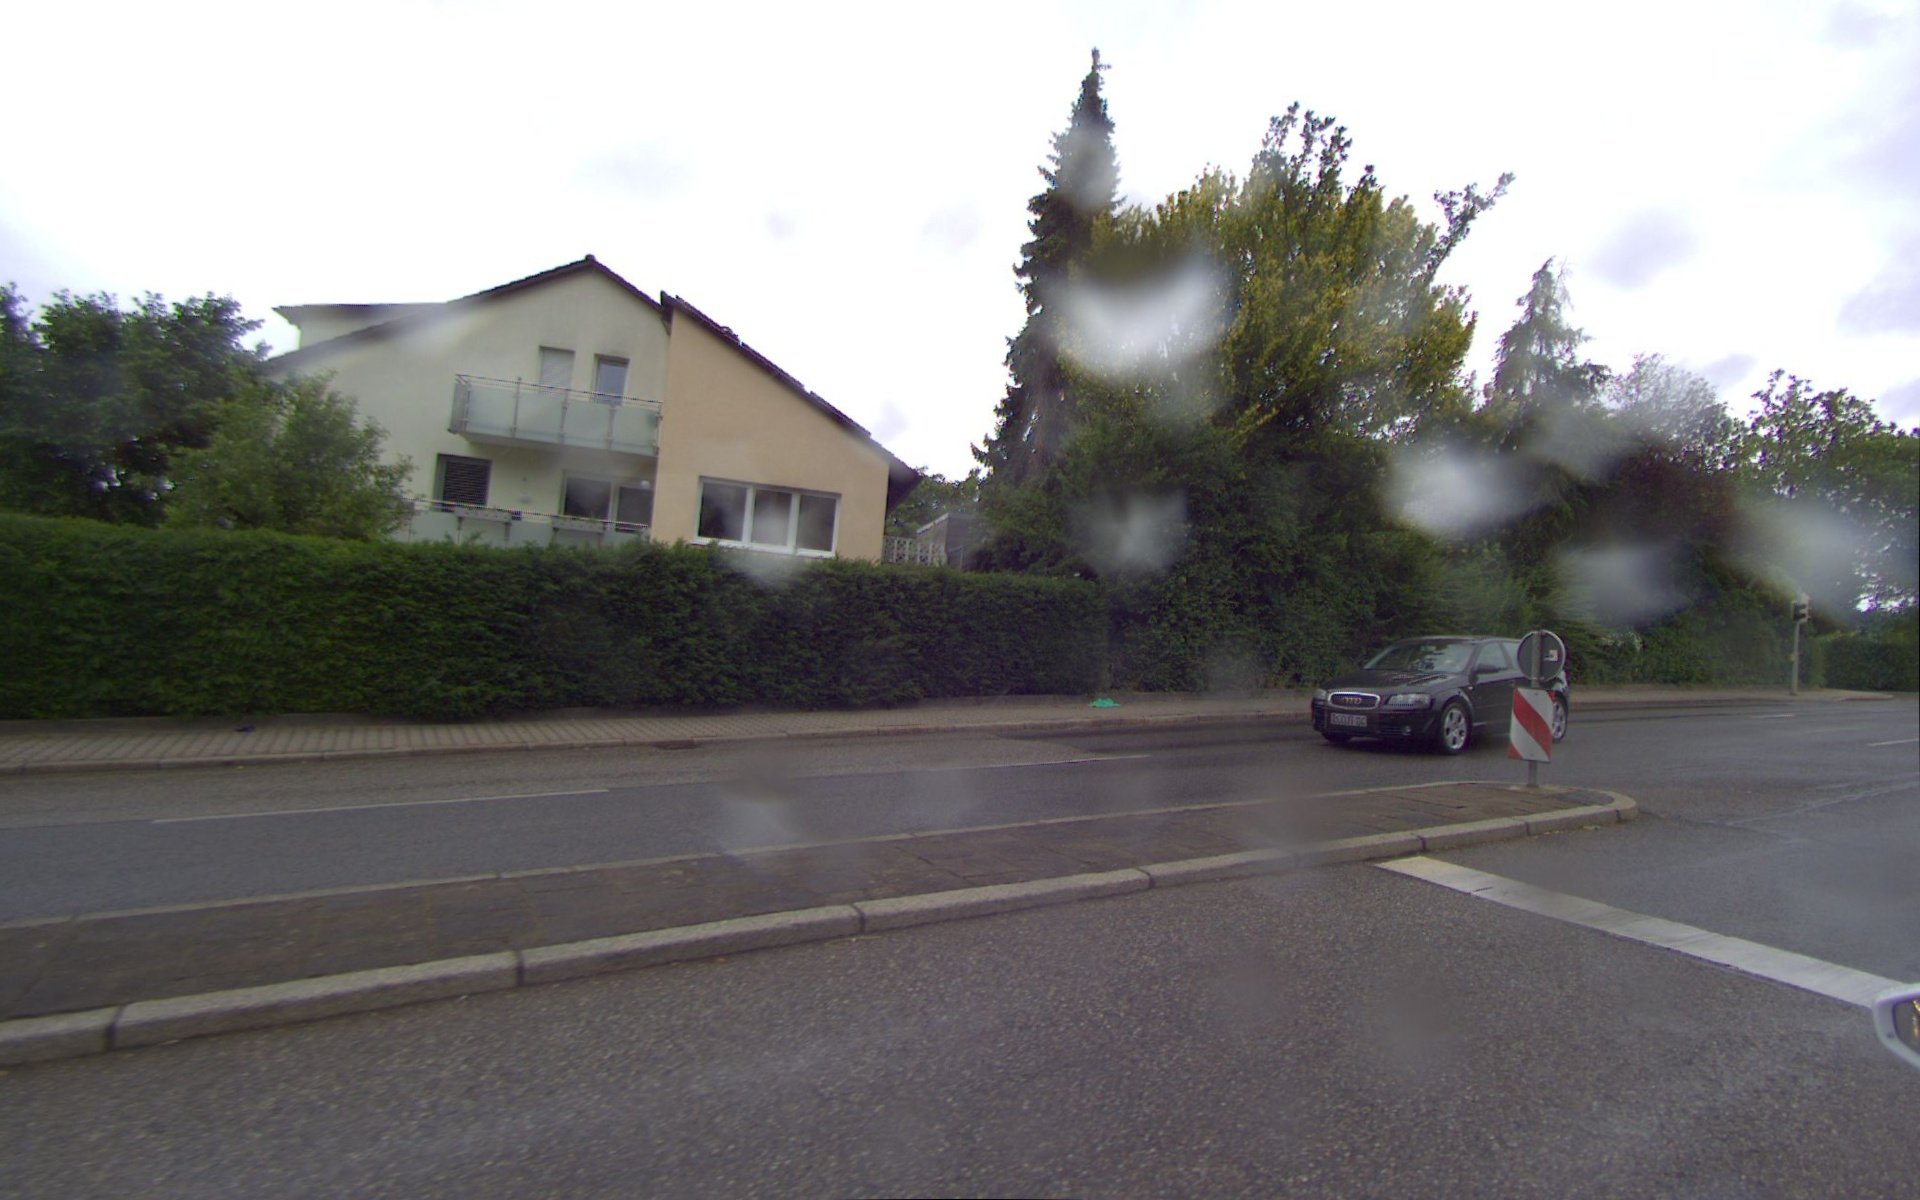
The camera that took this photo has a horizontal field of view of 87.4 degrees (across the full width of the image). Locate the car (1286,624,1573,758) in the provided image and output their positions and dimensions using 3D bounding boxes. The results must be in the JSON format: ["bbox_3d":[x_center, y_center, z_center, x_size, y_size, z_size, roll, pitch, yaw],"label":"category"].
[{"bbox_3d":[6.238,1.099,13.243,3.796,1.512,1.850,2,-2,-36],"label":"car"}]
